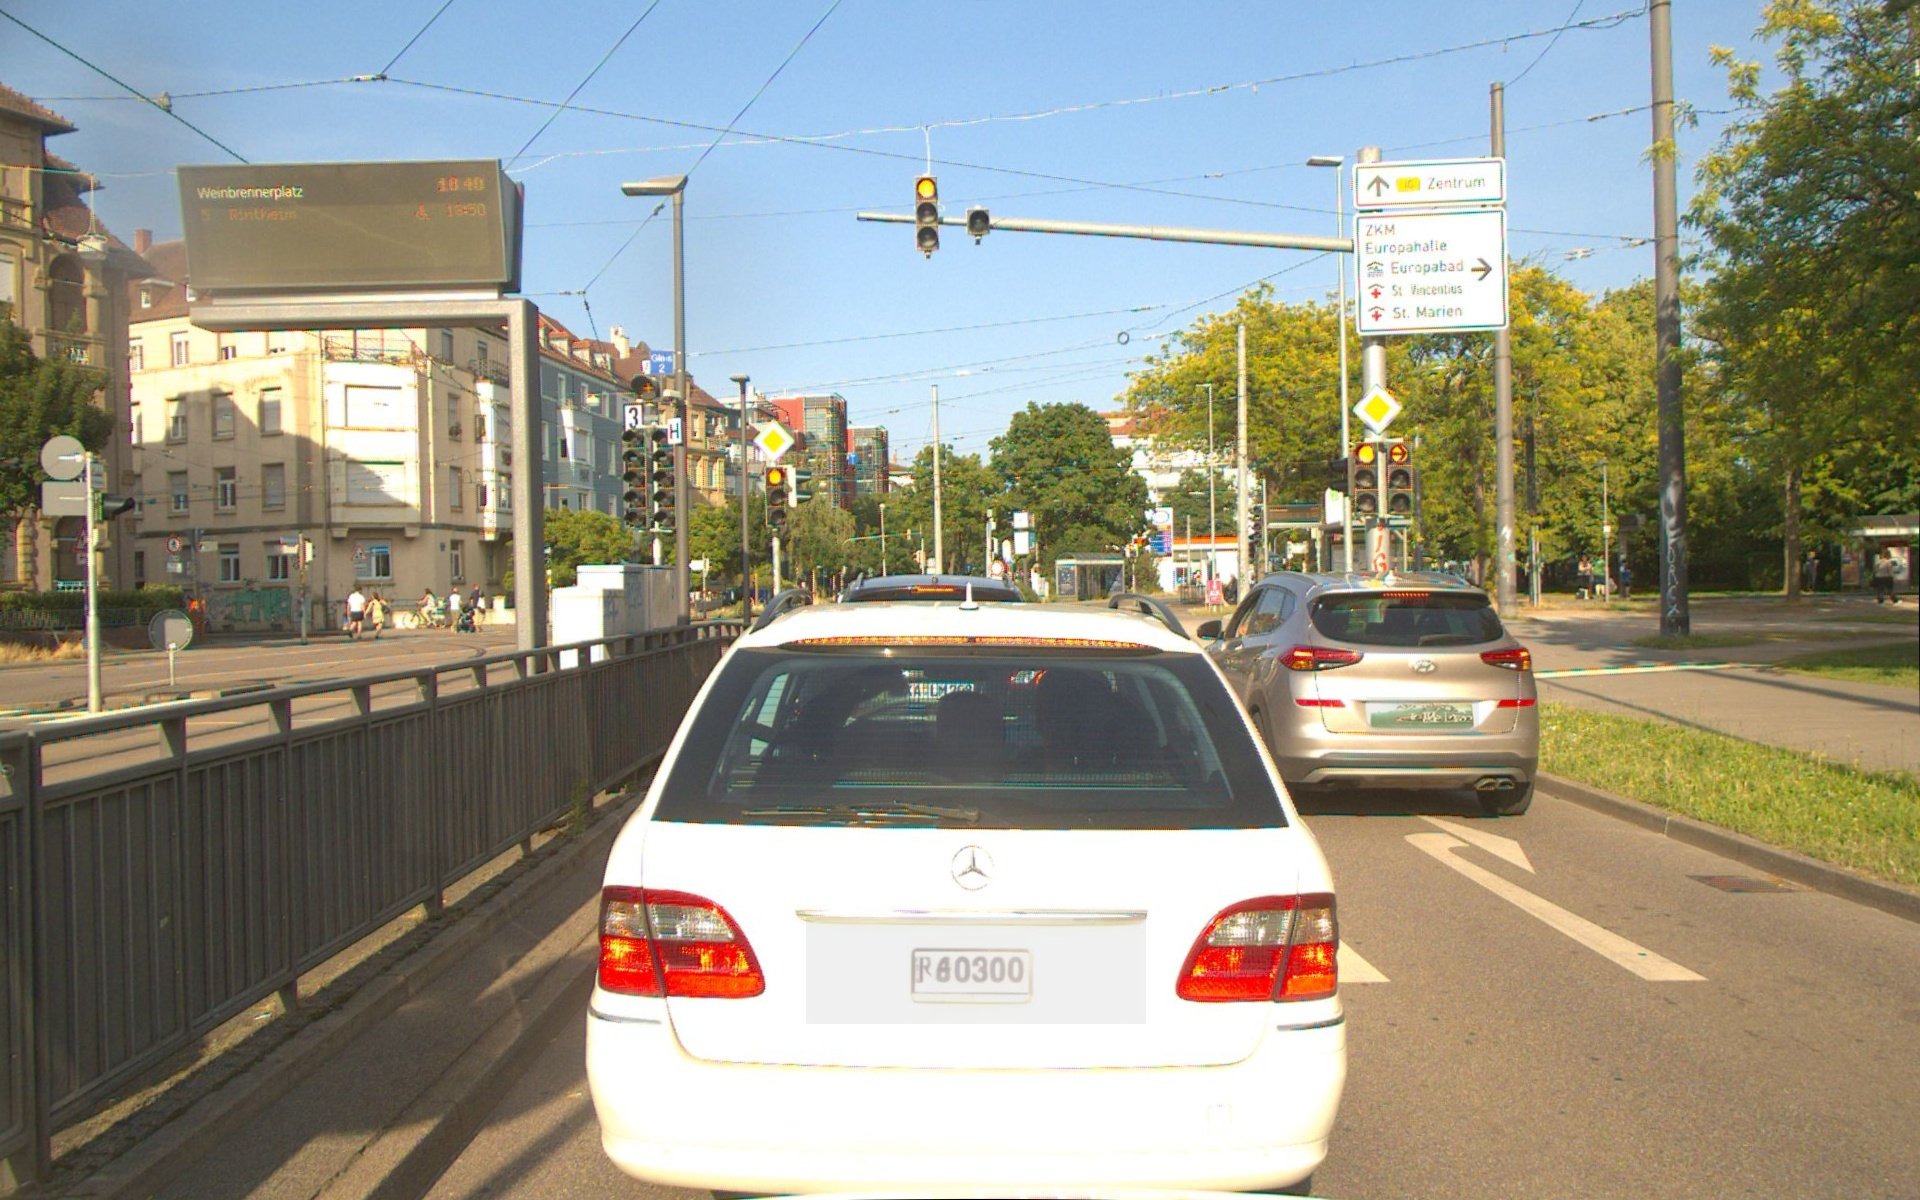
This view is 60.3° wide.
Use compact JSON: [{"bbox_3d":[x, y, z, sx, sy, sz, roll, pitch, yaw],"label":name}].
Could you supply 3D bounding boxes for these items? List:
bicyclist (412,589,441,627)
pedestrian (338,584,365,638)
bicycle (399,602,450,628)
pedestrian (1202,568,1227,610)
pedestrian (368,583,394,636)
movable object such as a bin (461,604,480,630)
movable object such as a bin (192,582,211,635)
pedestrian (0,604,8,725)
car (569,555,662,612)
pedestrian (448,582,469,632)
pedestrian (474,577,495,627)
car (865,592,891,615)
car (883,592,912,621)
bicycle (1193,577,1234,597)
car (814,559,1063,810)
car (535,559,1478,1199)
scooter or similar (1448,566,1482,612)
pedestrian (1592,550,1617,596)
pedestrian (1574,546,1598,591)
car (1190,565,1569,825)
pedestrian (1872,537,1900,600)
[{"bbox_3d":[-22.626,0.334,70.113,1.020,1.597,0.661,-1,0,-6],"label":"bicyclist"},{"bbox_3d":[-21.918,0.393,59.565,0.644,1.913,0.627,-1,0,14],"label":"pedestrian"},{"bbox_3d":[-22.690,0.644,70.117,1.953,1.024,0.741,-2,0,-8],"label":"bicycle"},{"bbox_3d":[12.615,-0.528,82.084,0.976,2.049,0.827,-1,0,27],"label":"pedestrian"},{"bbox_3d":[-20.848,0.325,59.573,0.661,1.880,0.649,-1,0,-3],"label":"pedestrian"},{"bbox_3d":[-19.343,0.669,65.363,0.571,0.963,0.663,-1,0,-2],"label":"movable object such as a bin"},{"bbox_3d":[-25.471,0.267,55.514,0.261,1.739,2.357,-2,1,-31],"label":"movable object such as a bin"},{"bbox_3d":[-13.219,0.878,22.094,0.578,1.617,0.715,-1,0,-5],"label":"pedestrian"},{"bbox_3d":[-13.263,-0.649,64.008,2.100,2.049,5.390,-1,0,4],"label":"car"},{"bbox_3d":[-19.545,0.263,64.478,0.572,1.913,0.627,-1,0,4],"label":"pedestrian"},{"bbox_3d":[-18.549,0.069,64.508,0.573,1.913,0.626,-1,3,-3],"label":"pedestrian"},{"bbox_3d":[-6.041,0.256,122.579,1.642,1.552,4.125,-1,2,0],"label":"car"},{"bbox_3d":[-5.216,0.533,137.887,2.132,2.278,5.253,-1,1,0],"label":"car"},{"bbox_3d":[13.018,-0.650,84.898,1.975,0.963,0.880,-1,0,19],"label":"bicycle"},{"bbox_3d":[-0.166,0.534,12.645,1.608,1.628,3.814,0,0,-1],"label":"car"},{"bbox_3d":[0.066,0.673,5.063,1.798,1.527,3.814,0,0,-1],"label":"car"},{"bbox_3d":[13.937,-0.305,45.657,0.345,1.253,1.131,-1,0,-15],"label":"scooter or similar"},{"bbox_3d":[24.522,-1.022,62.930,0.628,1.694,0.690,-1,0,-1],"label":"pedestrian"},{"bbox_3d":[24.250,-1.221,64.100,0.628,1.694,0.690,-1,0,-1],"label":"pedestrian"},{"bbox_3d":[2.896,0.582,12.280,1.798,1.628,3.814,0,0,-1],"label":"car"},{"bbox_3d":[28.343,-0.958,50.618,0.455,1.900,0.600,1,-1,-28],"label":"pedestrian"}]
